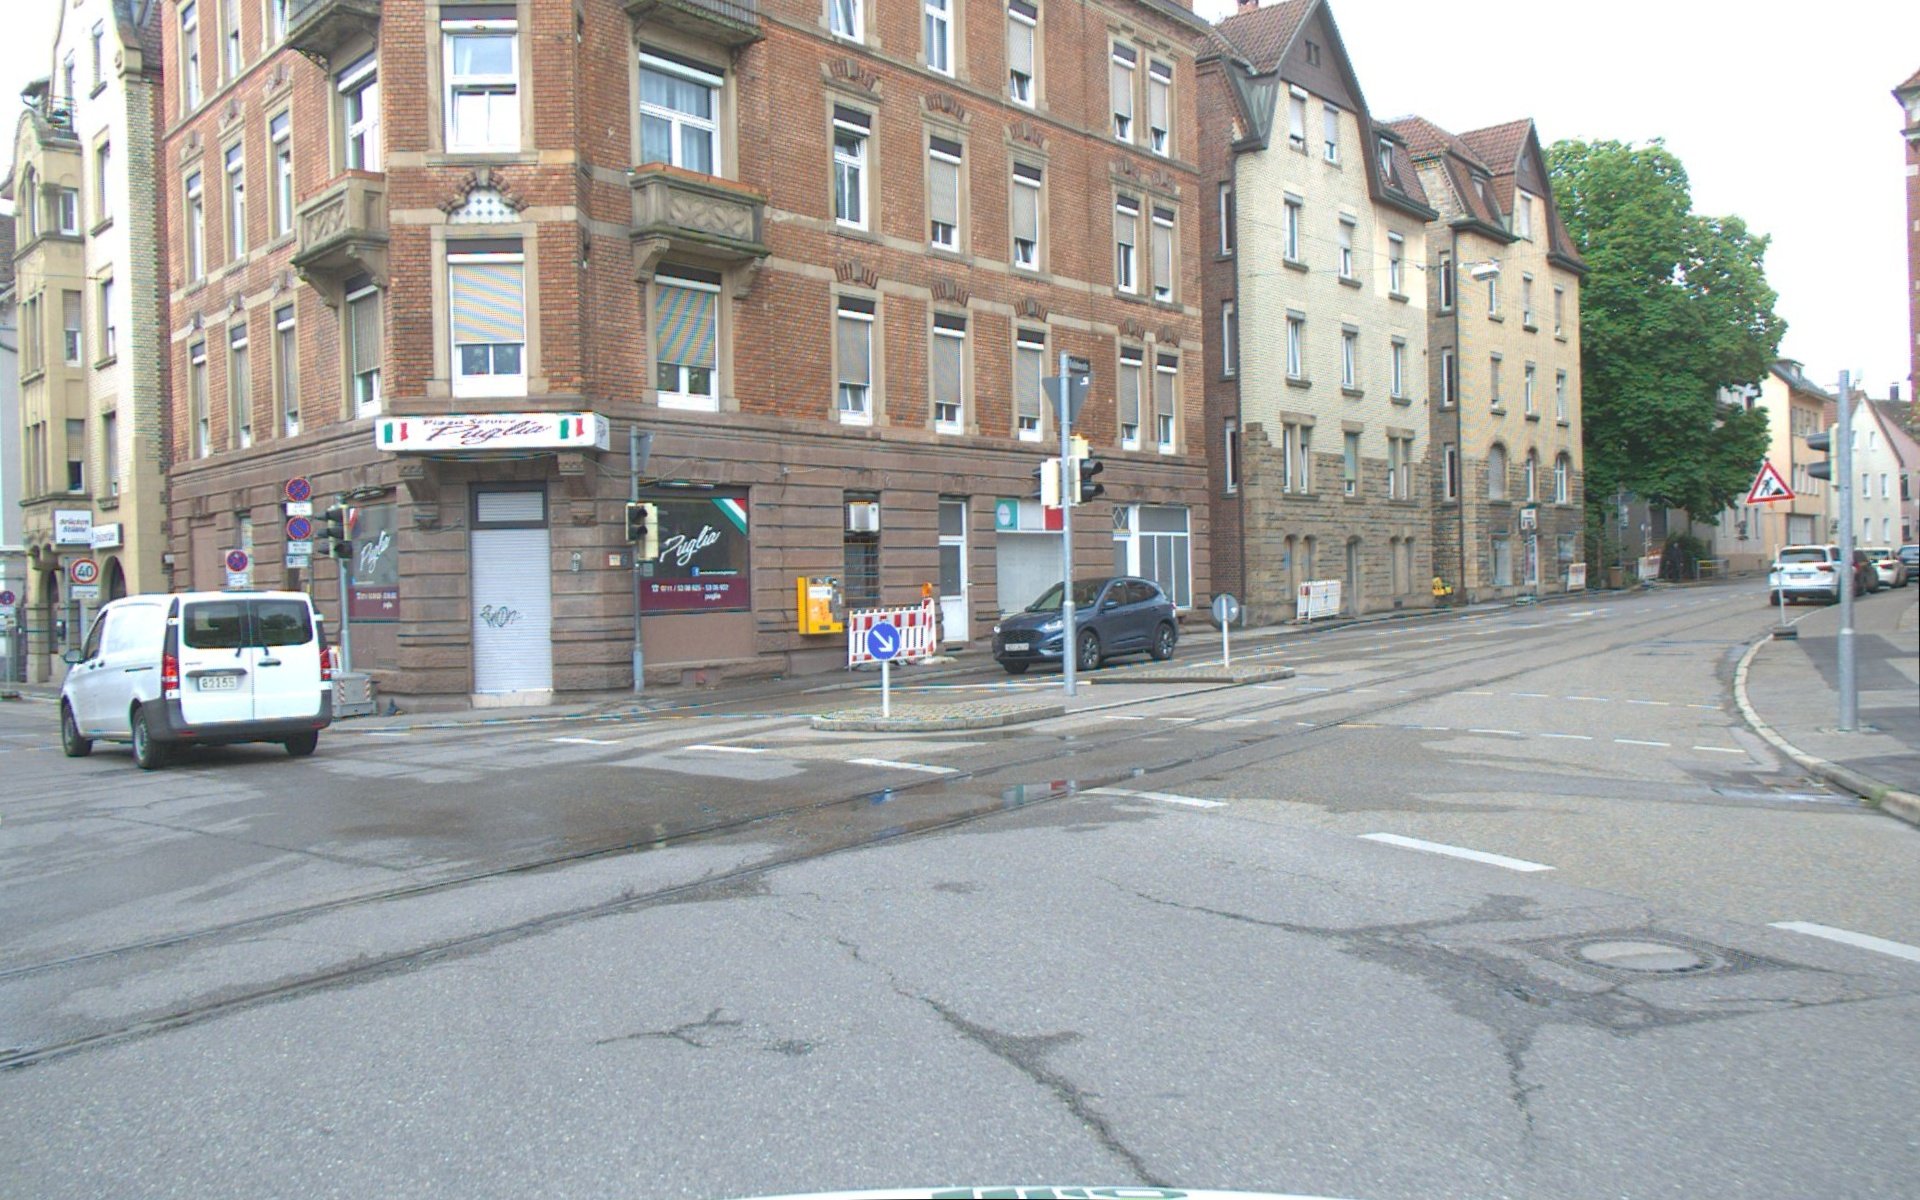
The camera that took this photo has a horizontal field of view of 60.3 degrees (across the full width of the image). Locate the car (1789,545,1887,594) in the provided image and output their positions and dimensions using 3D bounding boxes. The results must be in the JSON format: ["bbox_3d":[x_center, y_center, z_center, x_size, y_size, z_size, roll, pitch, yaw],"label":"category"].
[{"bbox_3d":[27.324,-0.965,51.408,1.962,1.310,3.982,-4,-1,38],"label":"car"}]

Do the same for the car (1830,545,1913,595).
[{"bbox_3d":[30.702,-1.021,55.654,1.781,1.488,3.982,-4,-1,38],"label":"car"}]

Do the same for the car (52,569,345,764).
[{"bbox_3d":[-9.066,0.792,19.470,1.881,1.962,4.575,-3,-1,-41],"label":"car"}]

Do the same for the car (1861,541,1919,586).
[{"bbox_3d":[37.283,-1.470,65.752,1.932,1.692,3.802,0,2,39],"label":"car"}]

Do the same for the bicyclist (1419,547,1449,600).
[{"bbox_3d":[16.136,-0.892,56.285,0.766,1.732,0.947,-5,-2,11],"label":"bicyclist"}]

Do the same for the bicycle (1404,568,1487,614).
[{"bbox_3d":[16.492,-0.292,56.242,2.536,1.329,0.634,-5,-2,11],"label":"bicycle"}]

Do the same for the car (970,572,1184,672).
[{"bbox_3d":[2.270,0.378,31.154,1.960,1.541,4.269,-5,-1,36],"label":"car"}]

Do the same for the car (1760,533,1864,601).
[{"bbox_3d":[24.395,-0.935,47.315,1.917,1.748,3.984,-4,-1,37],"label":"car"}]

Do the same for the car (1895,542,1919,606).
[{"bbox_3d":[25.941,-0.781,41.792,3.834,1.579,1.869,-5,-2,26],"label":"car"}]

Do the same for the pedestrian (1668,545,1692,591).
[{"bbox_3d":[32.516,-1.457,74.715,0.751,2.049,0.751,-3,-1,36],"label":"pedestrian"}]
